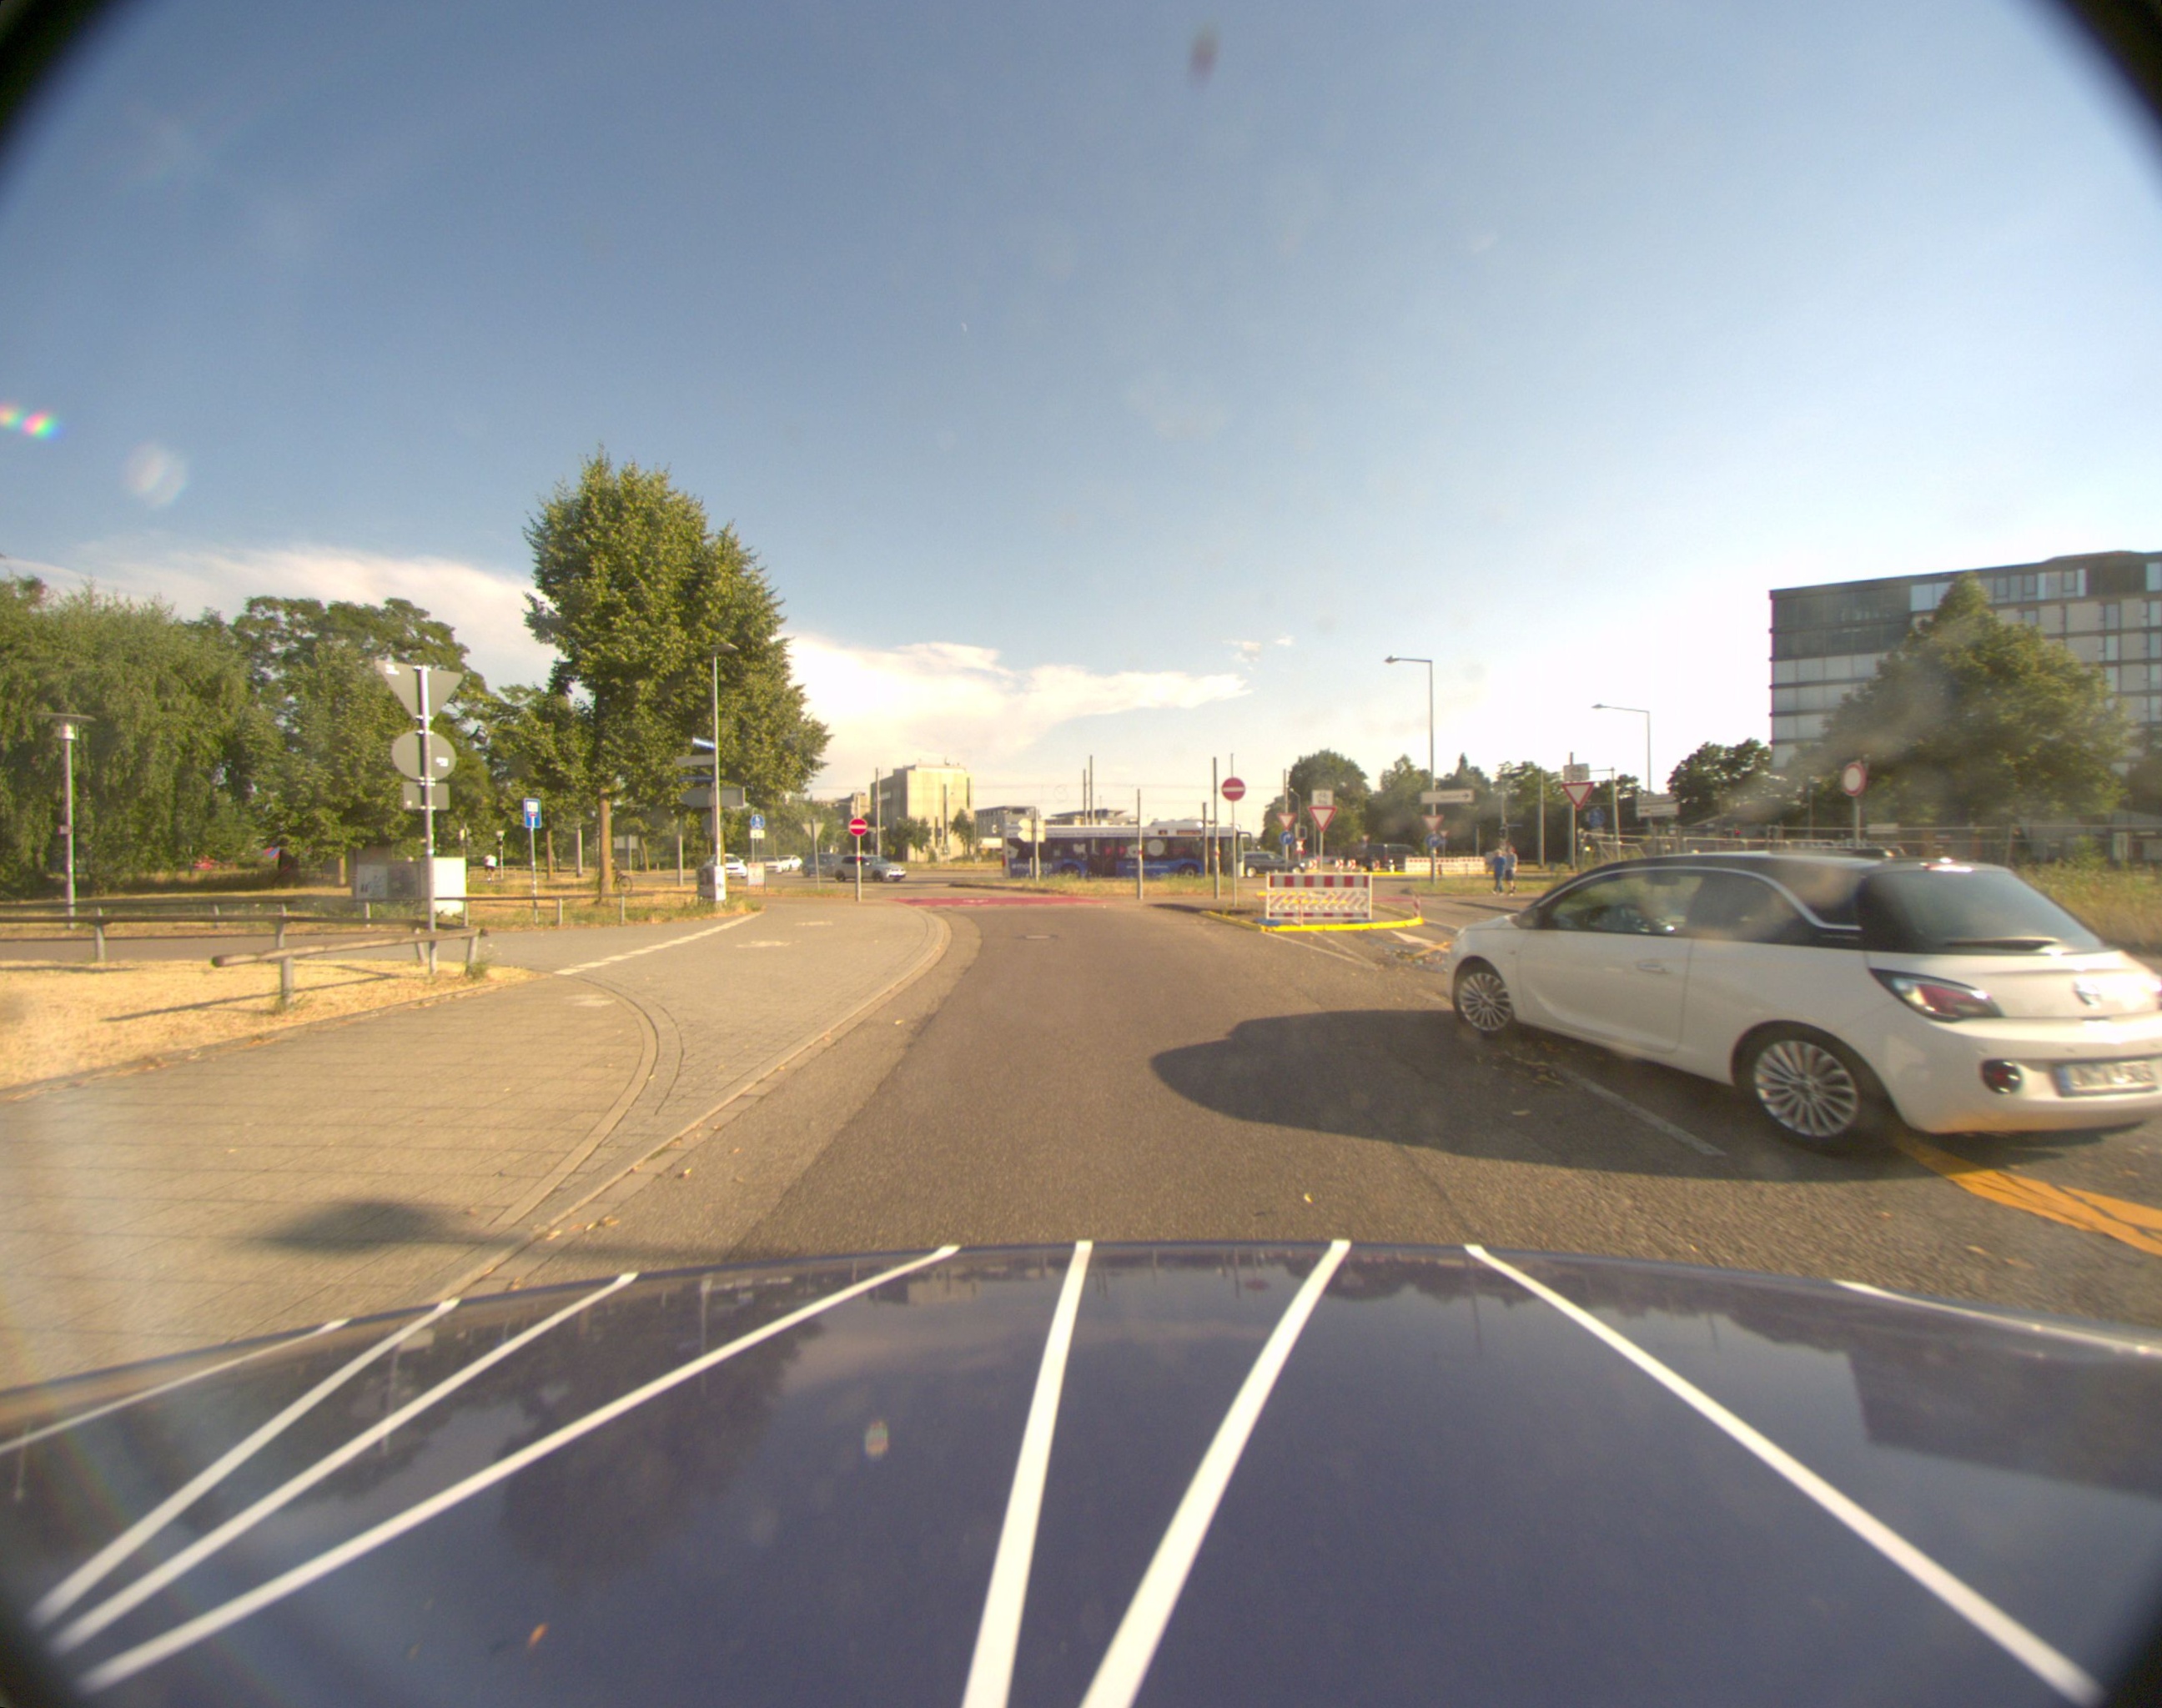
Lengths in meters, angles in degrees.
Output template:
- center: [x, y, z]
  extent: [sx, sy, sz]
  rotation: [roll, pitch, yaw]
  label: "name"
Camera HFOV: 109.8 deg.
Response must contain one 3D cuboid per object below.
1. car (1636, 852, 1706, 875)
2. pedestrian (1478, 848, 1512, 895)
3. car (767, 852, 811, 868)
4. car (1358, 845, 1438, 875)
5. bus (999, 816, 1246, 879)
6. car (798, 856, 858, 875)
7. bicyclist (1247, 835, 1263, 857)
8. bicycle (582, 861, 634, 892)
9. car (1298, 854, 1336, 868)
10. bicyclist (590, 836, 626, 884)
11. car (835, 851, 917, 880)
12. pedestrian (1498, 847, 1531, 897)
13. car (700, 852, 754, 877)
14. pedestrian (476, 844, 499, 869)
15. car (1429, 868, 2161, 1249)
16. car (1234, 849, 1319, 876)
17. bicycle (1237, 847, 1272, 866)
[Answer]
- center: [37.866, 0.581, 48.739]
  extent: [4.708, 1.398, 1.839]
  rotation: [0, 0, -29]
  label: "car"
- center: [15.151, 0.633, 27.794]
  extent: [0.814, 1.699, 0.784]
  rotation: [0, 1, -30]
  label: "pedestrian"
- center: [-26.957, 0.558, 70.292]
  extent: [2.093, 1.376, 4.590]
  rotation: [0, 0, 3]
  label: "car"
- center: [22.365, 0.373, 53.638]
  extent: [5.249, 2.035, 2.091]
  rotation: [-1, 1, -21]
  label: "car"
- center: [2.056, -0.309, 38.845]
  extent: [12.167, 3.044, 2.667]
  rotation: [0, 1, 3]
  label: "bus"
- center: [-16.241, 0.692, 48.719]
  extent: [3.988, 1.171, 1.648]
  rotation: [0, 0, 38]
  label: "car"
- center: [11.227, -0.521, 48.912]
  extent: [0.772, 1.377, 0.883]
  rotation: [-2, 3, -3]
  label: "bicyclist"
- center: [-17.769, 0.830, 28.525]
  extent: [2.120, 1.116, 0.642]
  rotation: [0, 1, 26]
  label: "bicycle"
- center: [28.044, 0.785, 90.415]
  extent: [2.003, 1.565, 3.991]
  rotation: [-1, 0, -27]
  label: "car"
- center: [-17.749, 0.219, 28.498]
  extent: [0.936, 1.790, 0.729]
  rotation: [0, 1, 26]
  label: "bicyclist"
- center: [-11.142, 0.610, 41.319]
  extent: [3.989, 1.514, 2.004]
  rotation: [0, 0, 26]
  label: "car"
- center: [15.459, 0.620, 27.093]
  extent: [0.773, 1.765, 0.758]
  rotation: [0, 1, -31]
  label: "pedestrian"
- center: [-23.083, 0.671, 49.474]
  extent: [1.916, 1.542, 4.036]
  rotation: [0, 0, -44]
  label: "car"
- center: [-33.077, 0.156, 42.369]
  extent: [0.652, 1.383, 0.768]
  rotation: [1, 0, 10]
  label: "pedestrian"
- center: [4.078, 0.837, 4.837]
  extent: [1.764, 1.413, 3.622]
  rotation: [1, 0, -6]
  label: "car"
- center: [11.284, 0.465, 43.903]
  extent: [4.389, 1.428, 1.808]
  rotation: [-1, 0, -15]
  label: "car"
- center: [11.151, 0.166, 48.899]
  extent: [2.031, 1.177, 0.820]
  rotation: [0, 0, -5]
  label: "bicycle"
